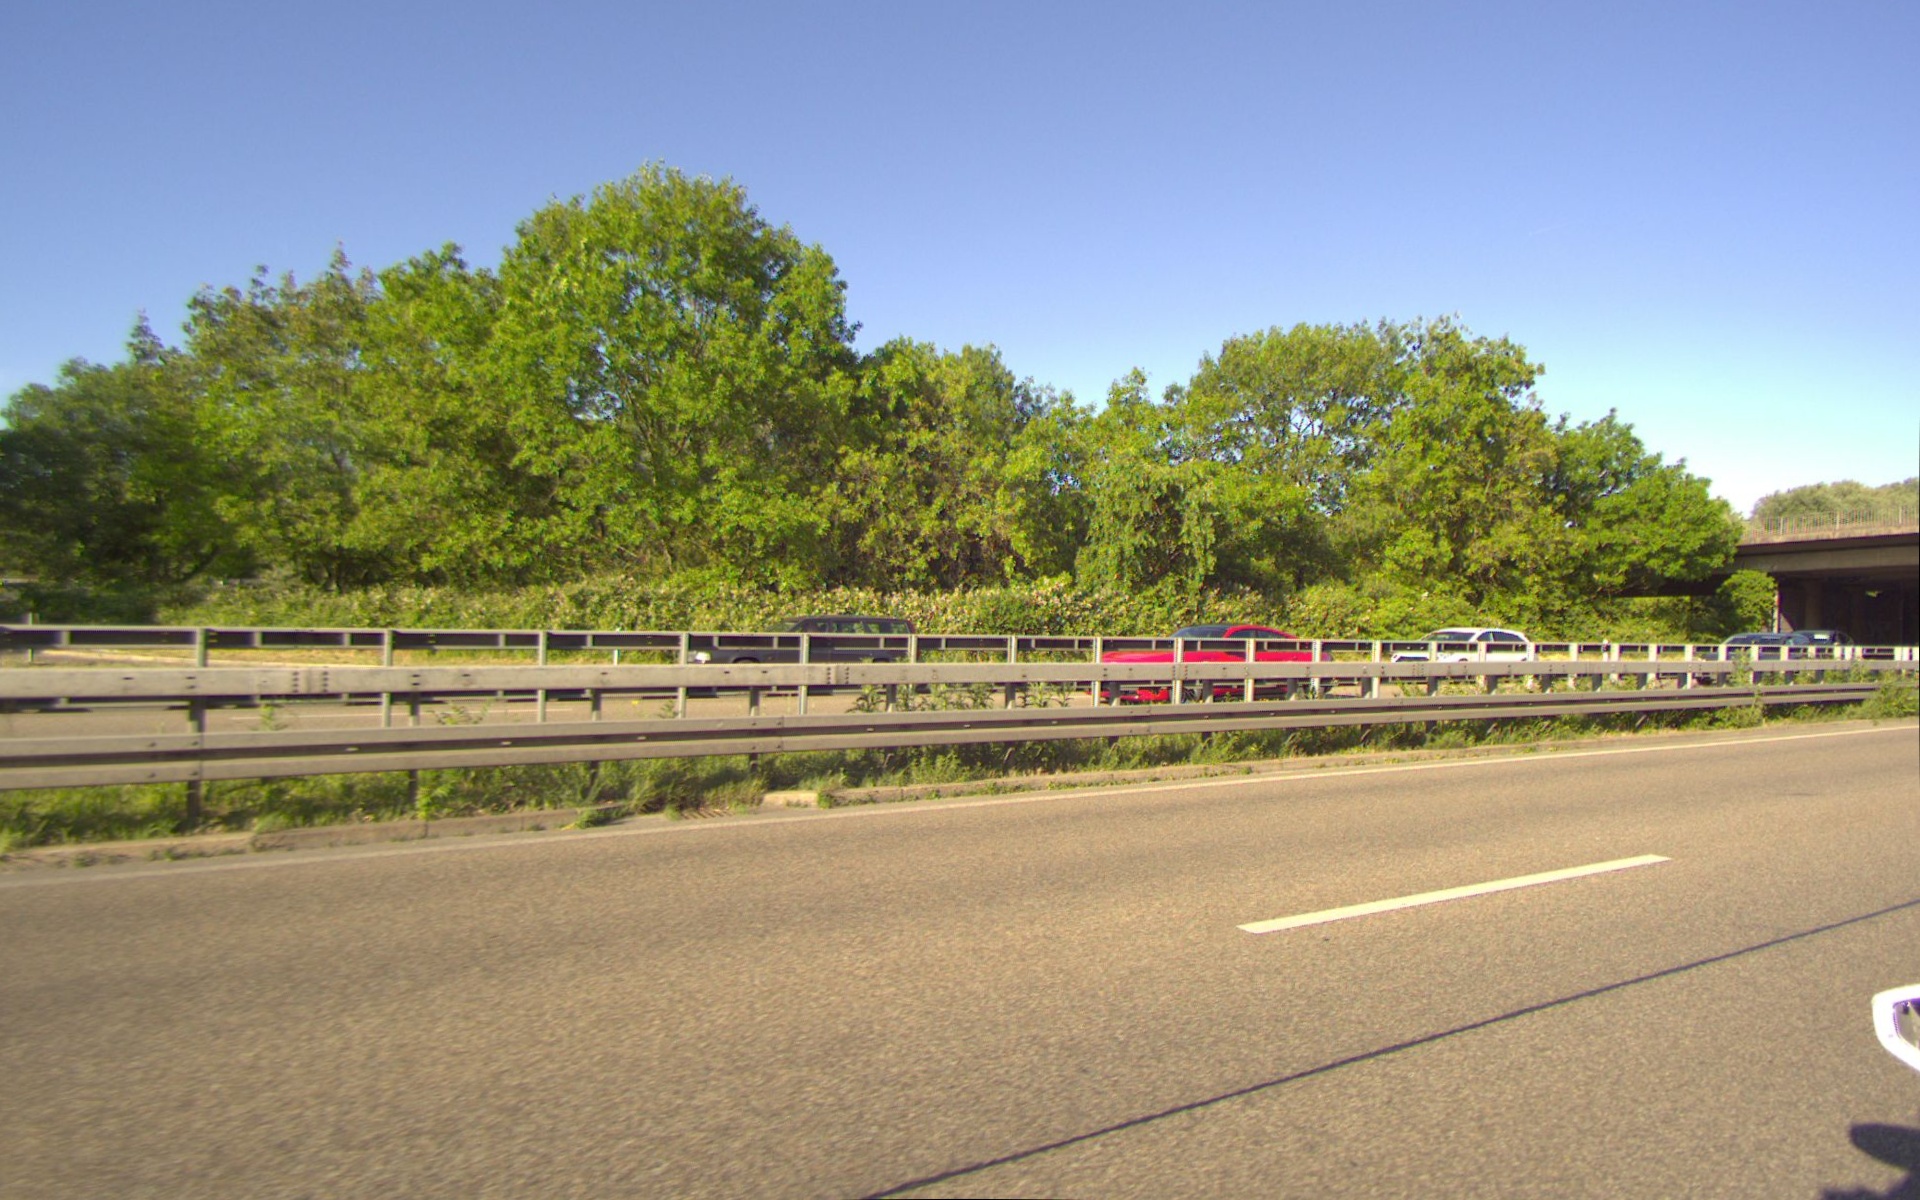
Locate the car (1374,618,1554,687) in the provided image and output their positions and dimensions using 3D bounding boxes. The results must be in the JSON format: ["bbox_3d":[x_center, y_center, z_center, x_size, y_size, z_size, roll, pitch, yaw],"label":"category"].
[{"bbox_3d":[13.470,1.375,26.808,4.662,1.662,1.985,2,0,-28],"label":"car"}]

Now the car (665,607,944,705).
[{"bbox_3d":[-2.965,1.033,19.430,4.965,1.662,1.985,2,0,-28],"label":"car"}]

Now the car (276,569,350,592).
[{"bbox_3d":[-52.745,-1.571,81.979,1.962,1.662,4.717,1,0,25],"label":"car"}]

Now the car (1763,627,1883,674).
[{"bbox_3d":[33.593,1.939,39.080,4.662,1.662,1.985,2,0,-28],"label":"car"}]

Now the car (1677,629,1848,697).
[{"bbox_3d":[21.922,1.682,27.417,4.662,1.662,1.985,2,0,-28],"label":"car"}]

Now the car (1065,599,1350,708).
[{"bbox_3d":[4.298,0.919,17.331,4.662,1.662,1.986,2,-3,-28],"label":"car"}]
